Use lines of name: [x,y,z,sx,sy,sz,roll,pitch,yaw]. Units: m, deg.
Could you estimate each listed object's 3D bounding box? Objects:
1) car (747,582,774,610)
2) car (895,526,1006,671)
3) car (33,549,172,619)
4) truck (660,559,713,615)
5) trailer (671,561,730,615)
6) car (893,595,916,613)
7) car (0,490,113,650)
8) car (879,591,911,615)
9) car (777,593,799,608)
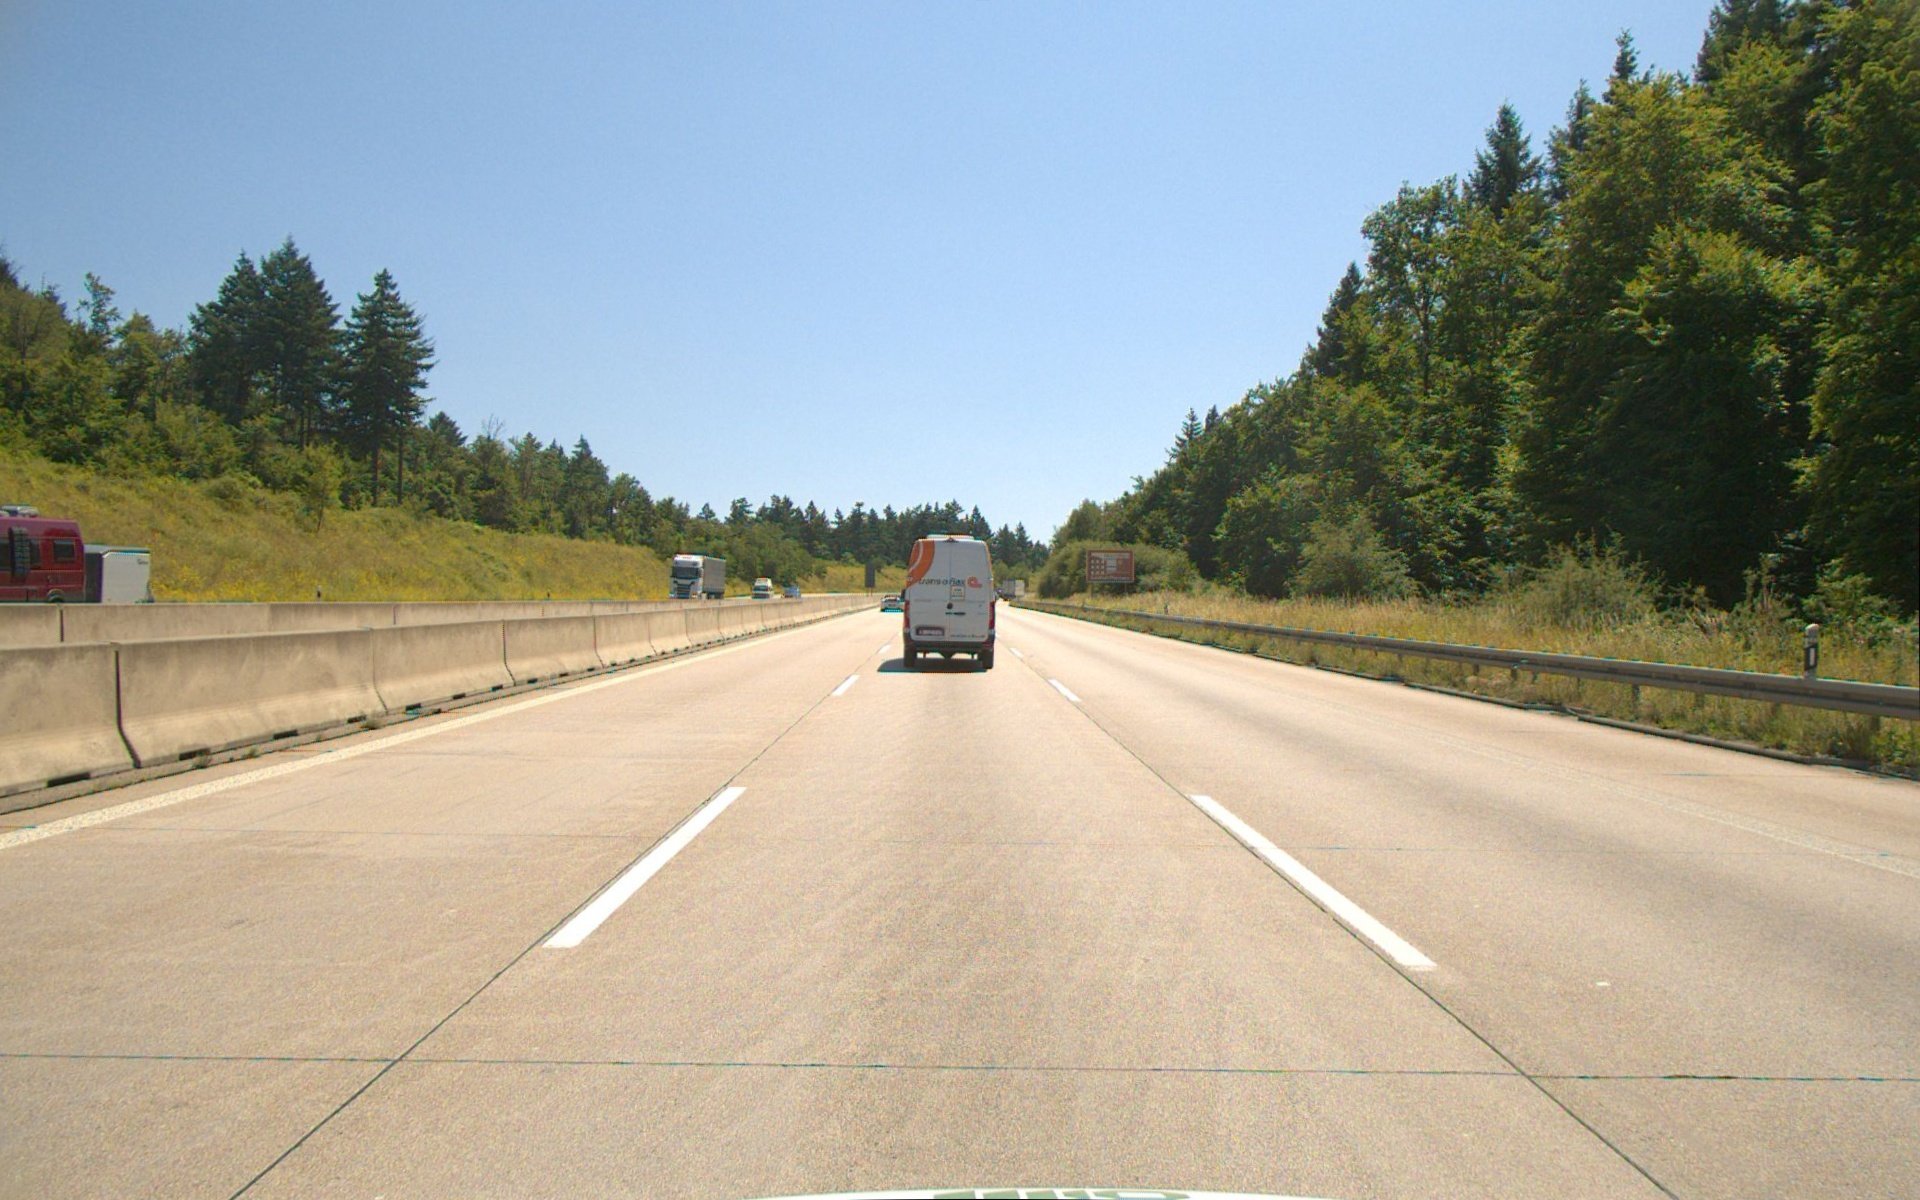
car: [-19.281,-0.395,159.947,1.953,2.529,5.178,1,0,0]
car: [-0.236,-0.038,36.268,2.181,2.894,5.453,1,0,-1]
car: [-21.034,-0.375,40.732,1.581,1.628,3.576,-1,0,-1]
truck: [-23.183,-1.033,140.588,3.190,4.583,7.984,1,-1,0]
trailer: [-23.203,-0.997,148.755,3.190,4.583,13.117,1,-1,0]
car: [-5.731,0.424,172.019,1.952,1.713,4.001,1,-1,3]
car: [-20.810,-0.641,35.200,1.953,3.298,7.059,1,0,-1]
car: [-4.871,0.260,123.976,1.952,1.713,4.001,1,-1,3]
car: [-18.870,0.096,181.907,1.953,1.610,4.042,1,0,0]
